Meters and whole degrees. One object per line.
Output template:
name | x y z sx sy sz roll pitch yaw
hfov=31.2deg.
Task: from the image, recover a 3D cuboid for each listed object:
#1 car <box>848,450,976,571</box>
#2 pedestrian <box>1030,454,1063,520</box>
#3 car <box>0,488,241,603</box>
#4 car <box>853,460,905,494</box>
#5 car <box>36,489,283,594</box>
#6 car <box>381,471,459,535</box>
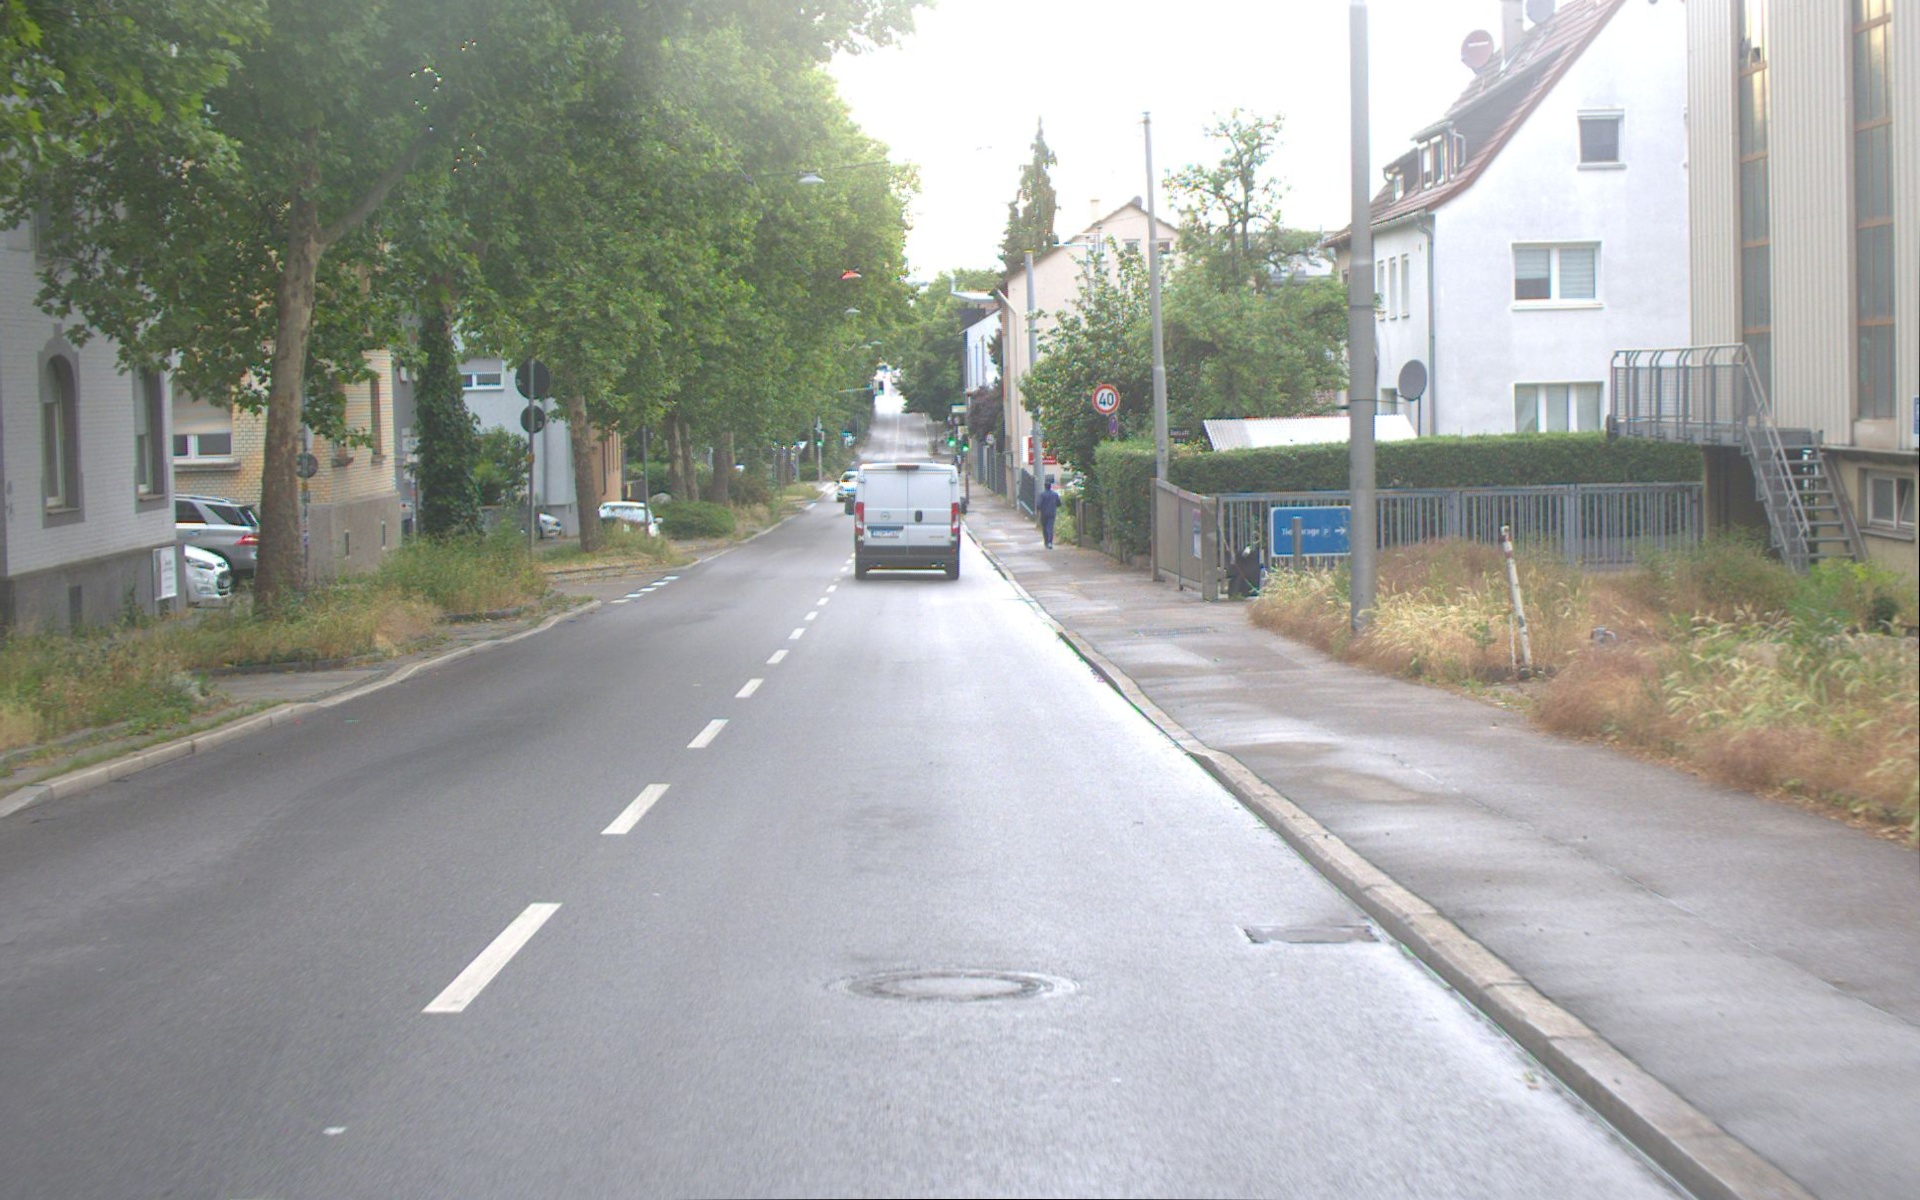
car | -0.986 -1.798 67.569 2.346 2.152 4.779 -2 3 -2
pedestrian | 2.241 -2.918 89.059 0.816 1.692 0.729 0 1 5
car | -14.661 -0.954 59.048 4.196 1.885 2.000 -1 2 -1
car | -4.053 -6.166 172.647 1.994 1.703 4.259 0 2 7
car | -15.079 -1.129 64.930 4.196 1.885 2.000 -1 2 -1
car | -17.063 -3.087 108.731 1.875 1.888 4.001 -1 3 -1
